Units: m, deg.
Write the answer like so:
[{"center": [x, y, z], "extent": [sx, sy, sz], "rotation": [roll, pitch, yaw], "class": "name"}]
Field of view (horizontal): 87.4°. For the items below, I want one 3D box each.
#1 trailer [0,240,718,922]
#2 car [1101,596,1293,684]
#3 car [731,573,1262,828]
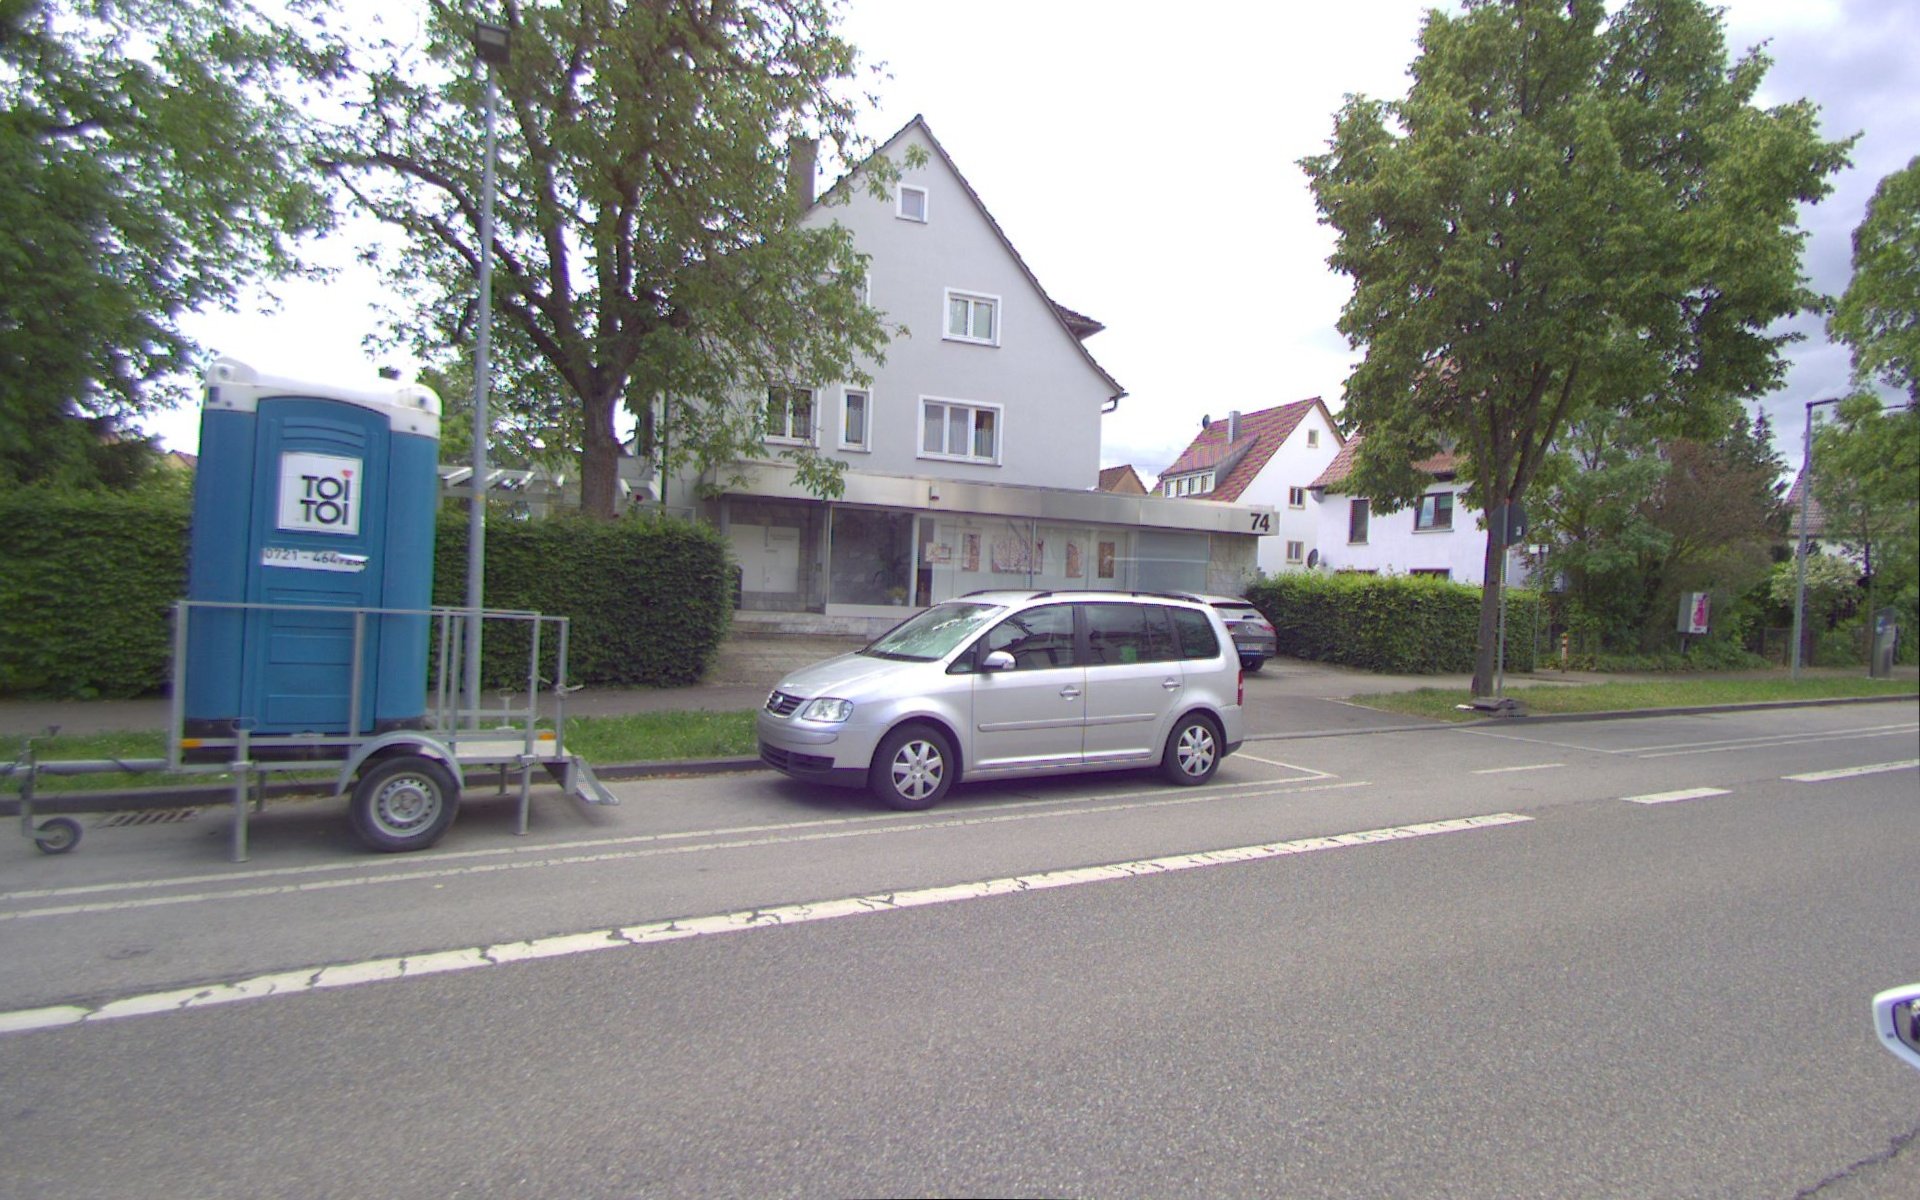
[{"center": [-5.030, -0.093, 5.355], "extent": [6.915, 3.002, 2.365], "rotation": [1, 0, -25], "class": "trailer"}, {"center": [4.613, 0.727, 20.207], "extent": [1.774, 1.452, 4.072], "rotation": [1, 2, -21], "class": "car"}, {"center": [0.379, 0.728, 8.474], "extent": [4.174, 1.706, 1.681], "rotation": [2, 0, -29], "class": "car"}]
